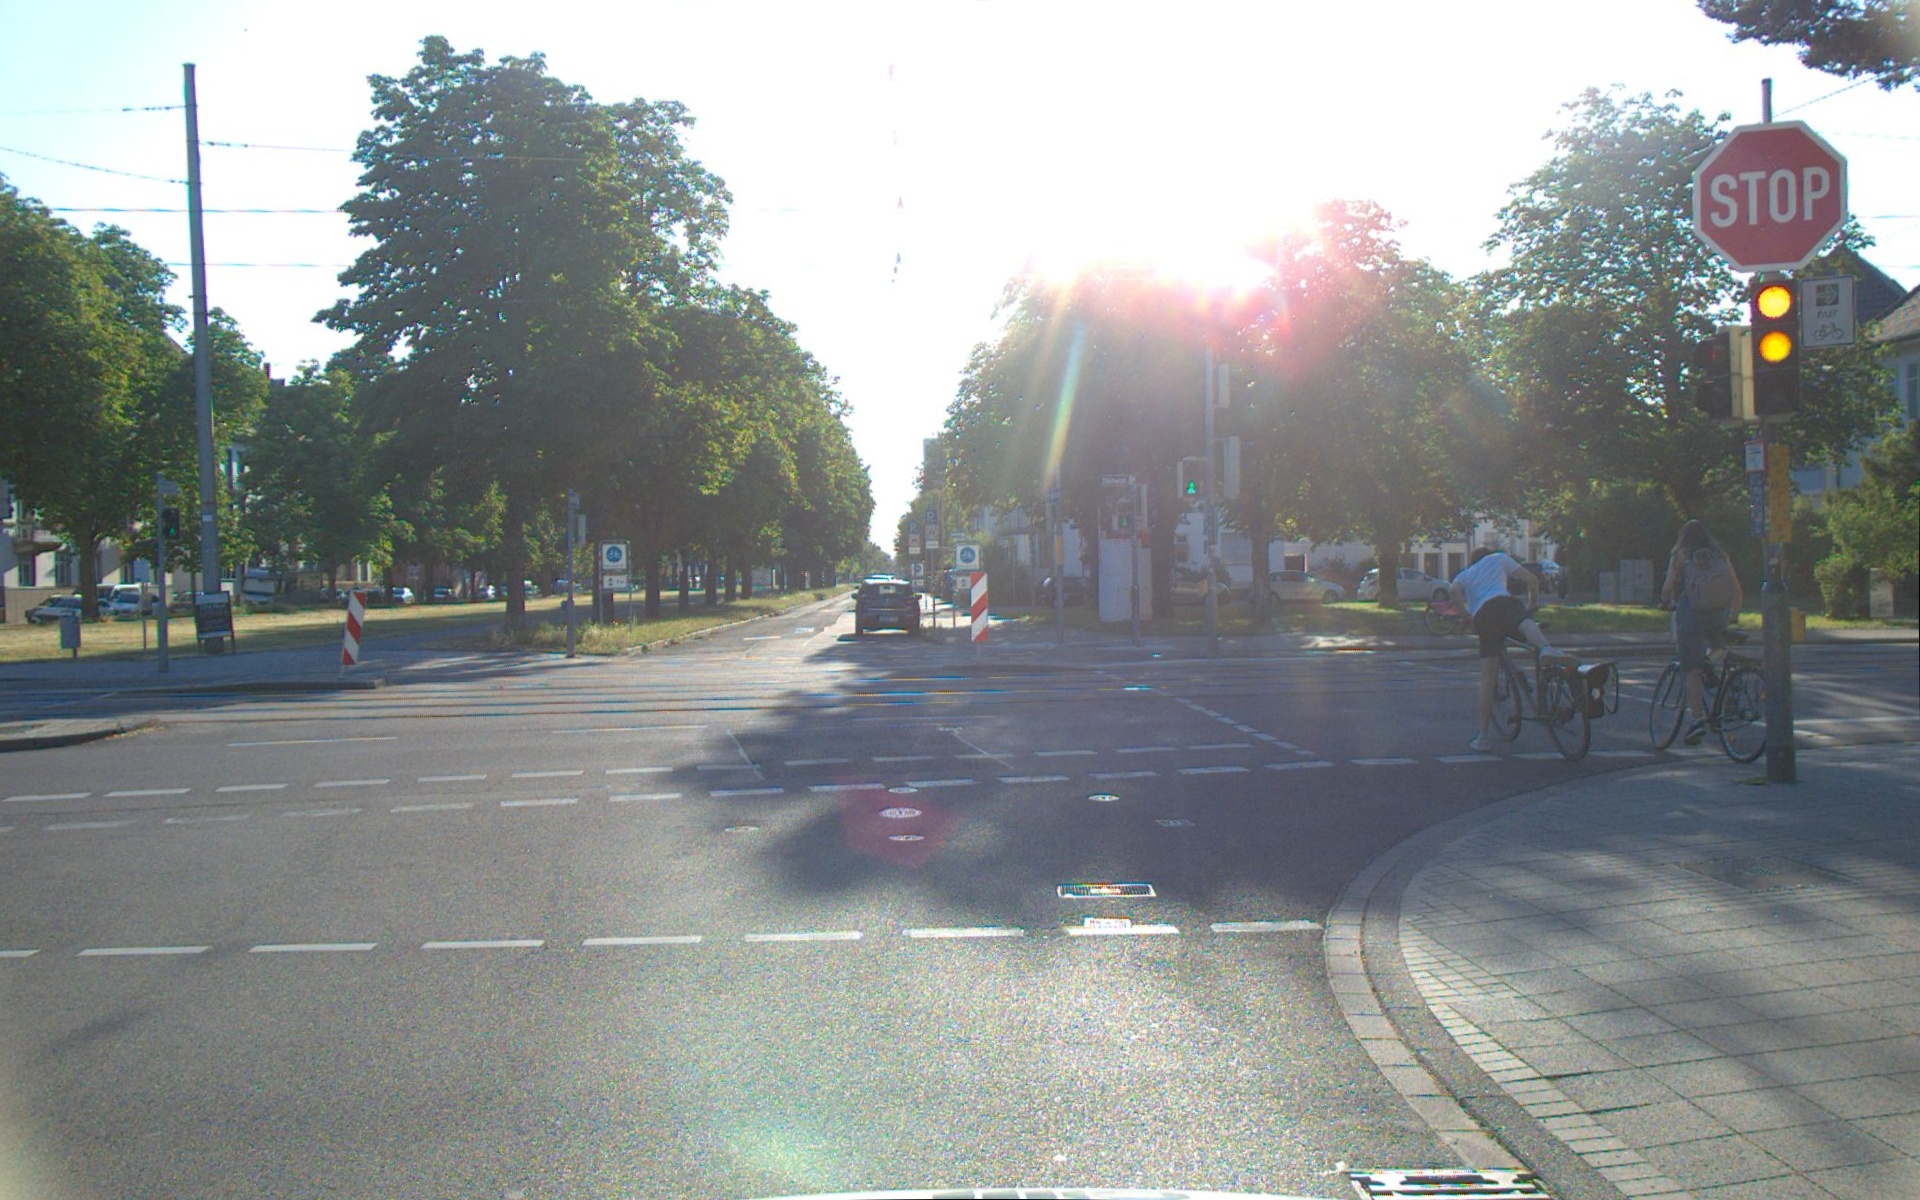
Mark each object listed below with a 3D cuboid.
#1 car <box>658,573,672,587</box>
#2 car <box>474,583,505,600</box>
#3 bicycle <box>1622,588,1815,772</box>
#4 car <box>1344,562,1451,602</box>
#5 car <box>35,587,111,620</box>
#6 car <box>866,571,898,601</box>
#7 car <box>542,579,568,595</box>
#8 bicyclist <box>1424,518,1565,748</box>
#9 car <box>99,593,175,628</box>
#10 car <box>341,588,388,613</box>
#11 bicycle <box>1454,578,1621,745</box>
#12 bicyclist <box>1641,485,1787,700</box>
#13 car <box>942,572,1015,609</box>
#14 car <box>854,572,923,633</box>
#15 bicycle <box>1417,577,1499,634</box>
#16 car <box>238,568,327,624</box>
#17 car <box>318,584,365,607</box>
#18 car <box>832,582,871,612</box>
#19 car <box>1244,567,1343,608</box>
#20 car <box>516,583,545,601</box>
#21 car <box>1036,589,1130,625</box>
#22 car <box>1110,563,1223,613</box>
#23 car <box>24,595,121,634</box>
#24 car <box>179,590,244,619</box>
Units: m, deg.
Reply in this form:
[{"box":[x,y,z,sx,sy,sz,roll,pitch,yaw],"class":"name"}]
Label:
[{"box":[-45.211,-3.106,253.192,1.621,1.972,3.565,1,-1,-3],"class":"car"},{"box":[-48.938,-0.904,172.046,1.953,1.688,4.354,1,0,-1],"class":"car"},{"box":[5.776,0.561,12.721,0.481,1.204,1.964,1,3,-2],"class":"bicycle"},{"box":[17.506,-0.694,66.249,3.847,1.550,1.521,0,-1,-8],"class":"car"},{"box":[-45.867,0.173,85.576,1.681,1.661,4.190,1,0,-1],"class":"car"},{"box":[-4.907,-0.876,103.651,1.954,1.812,3.998,1,1,-3],"class":"car"},{"box":[-45.620,-1.453,186.345,1.954,1.688,4.568,-1,1,-3],"class":"car"},{"box":[4.237,0.256,13.173,0.798,1.762,0.893,1,-1,-2],"class":"bicyclist"},{"box":[-40.247,0.477,81.017,1.760,1.581,4.416,1,1,-4],"class":"car"},{"box":[-41.751,0.045,115.989,1.841,1.703,4.313,1,0,-2],"class":"car"},{"box":[4.485,0.446,12.970,0.561,1.204,1.904,1,0,-2],"class":"bicycle"},{"box":[5.803,-0.054,12.773,0.698,1.590,0.894,1,0,-1],"class":"bicyclist"},{"box":[1.015,-0.537,93.474,3.911,1.854,1.757,-2,-5,-7],"class":"car"},{"box":[-1.880,0.082,44.543,1.690,1.537,4.539,1,0,-1],"class":"car"},{"box":[9.930,0.114,32.999,1.489,1.108,0.468,-1,0,7],"class":"bicycle"},{"box":[-41.078,-0.293,100.503,2.344,3.185,7.850,1,1,-2],"class":"car"},{"box":[-47.083,-0.340,125.970,1.953,1.688,4.373,1,0,-1],"class":"car"},{"box":[-5.107,-0.135,78.267,1.675,1.383,4.201,1,0,-2],"class":"car"},{"box":[13.192,-0.496,65.489,3.487,1.542,1.602,-1,0,-8],"class":"car"},{"box":[-43.323,-0.810,166.887,1.982,1.688,3.982,1,0,-2],"class":"car"},{"box":[5.346,0.303,72.237,3.907,1.472,1.715,-1,0,-3],"class":"car"},{"box":[8.157,-0.456,65.665,4.157,1.908,2.029,-1,0,-3],"class":"car"},{"box":[-40.208,0.658,75.022,1.953,1.688,4.569,1,0,-1],"class":"car"},{"box":[-46.095,0.281,101.966,1.953,1.688,4.569,1,0,-1],"class":"car"}]
